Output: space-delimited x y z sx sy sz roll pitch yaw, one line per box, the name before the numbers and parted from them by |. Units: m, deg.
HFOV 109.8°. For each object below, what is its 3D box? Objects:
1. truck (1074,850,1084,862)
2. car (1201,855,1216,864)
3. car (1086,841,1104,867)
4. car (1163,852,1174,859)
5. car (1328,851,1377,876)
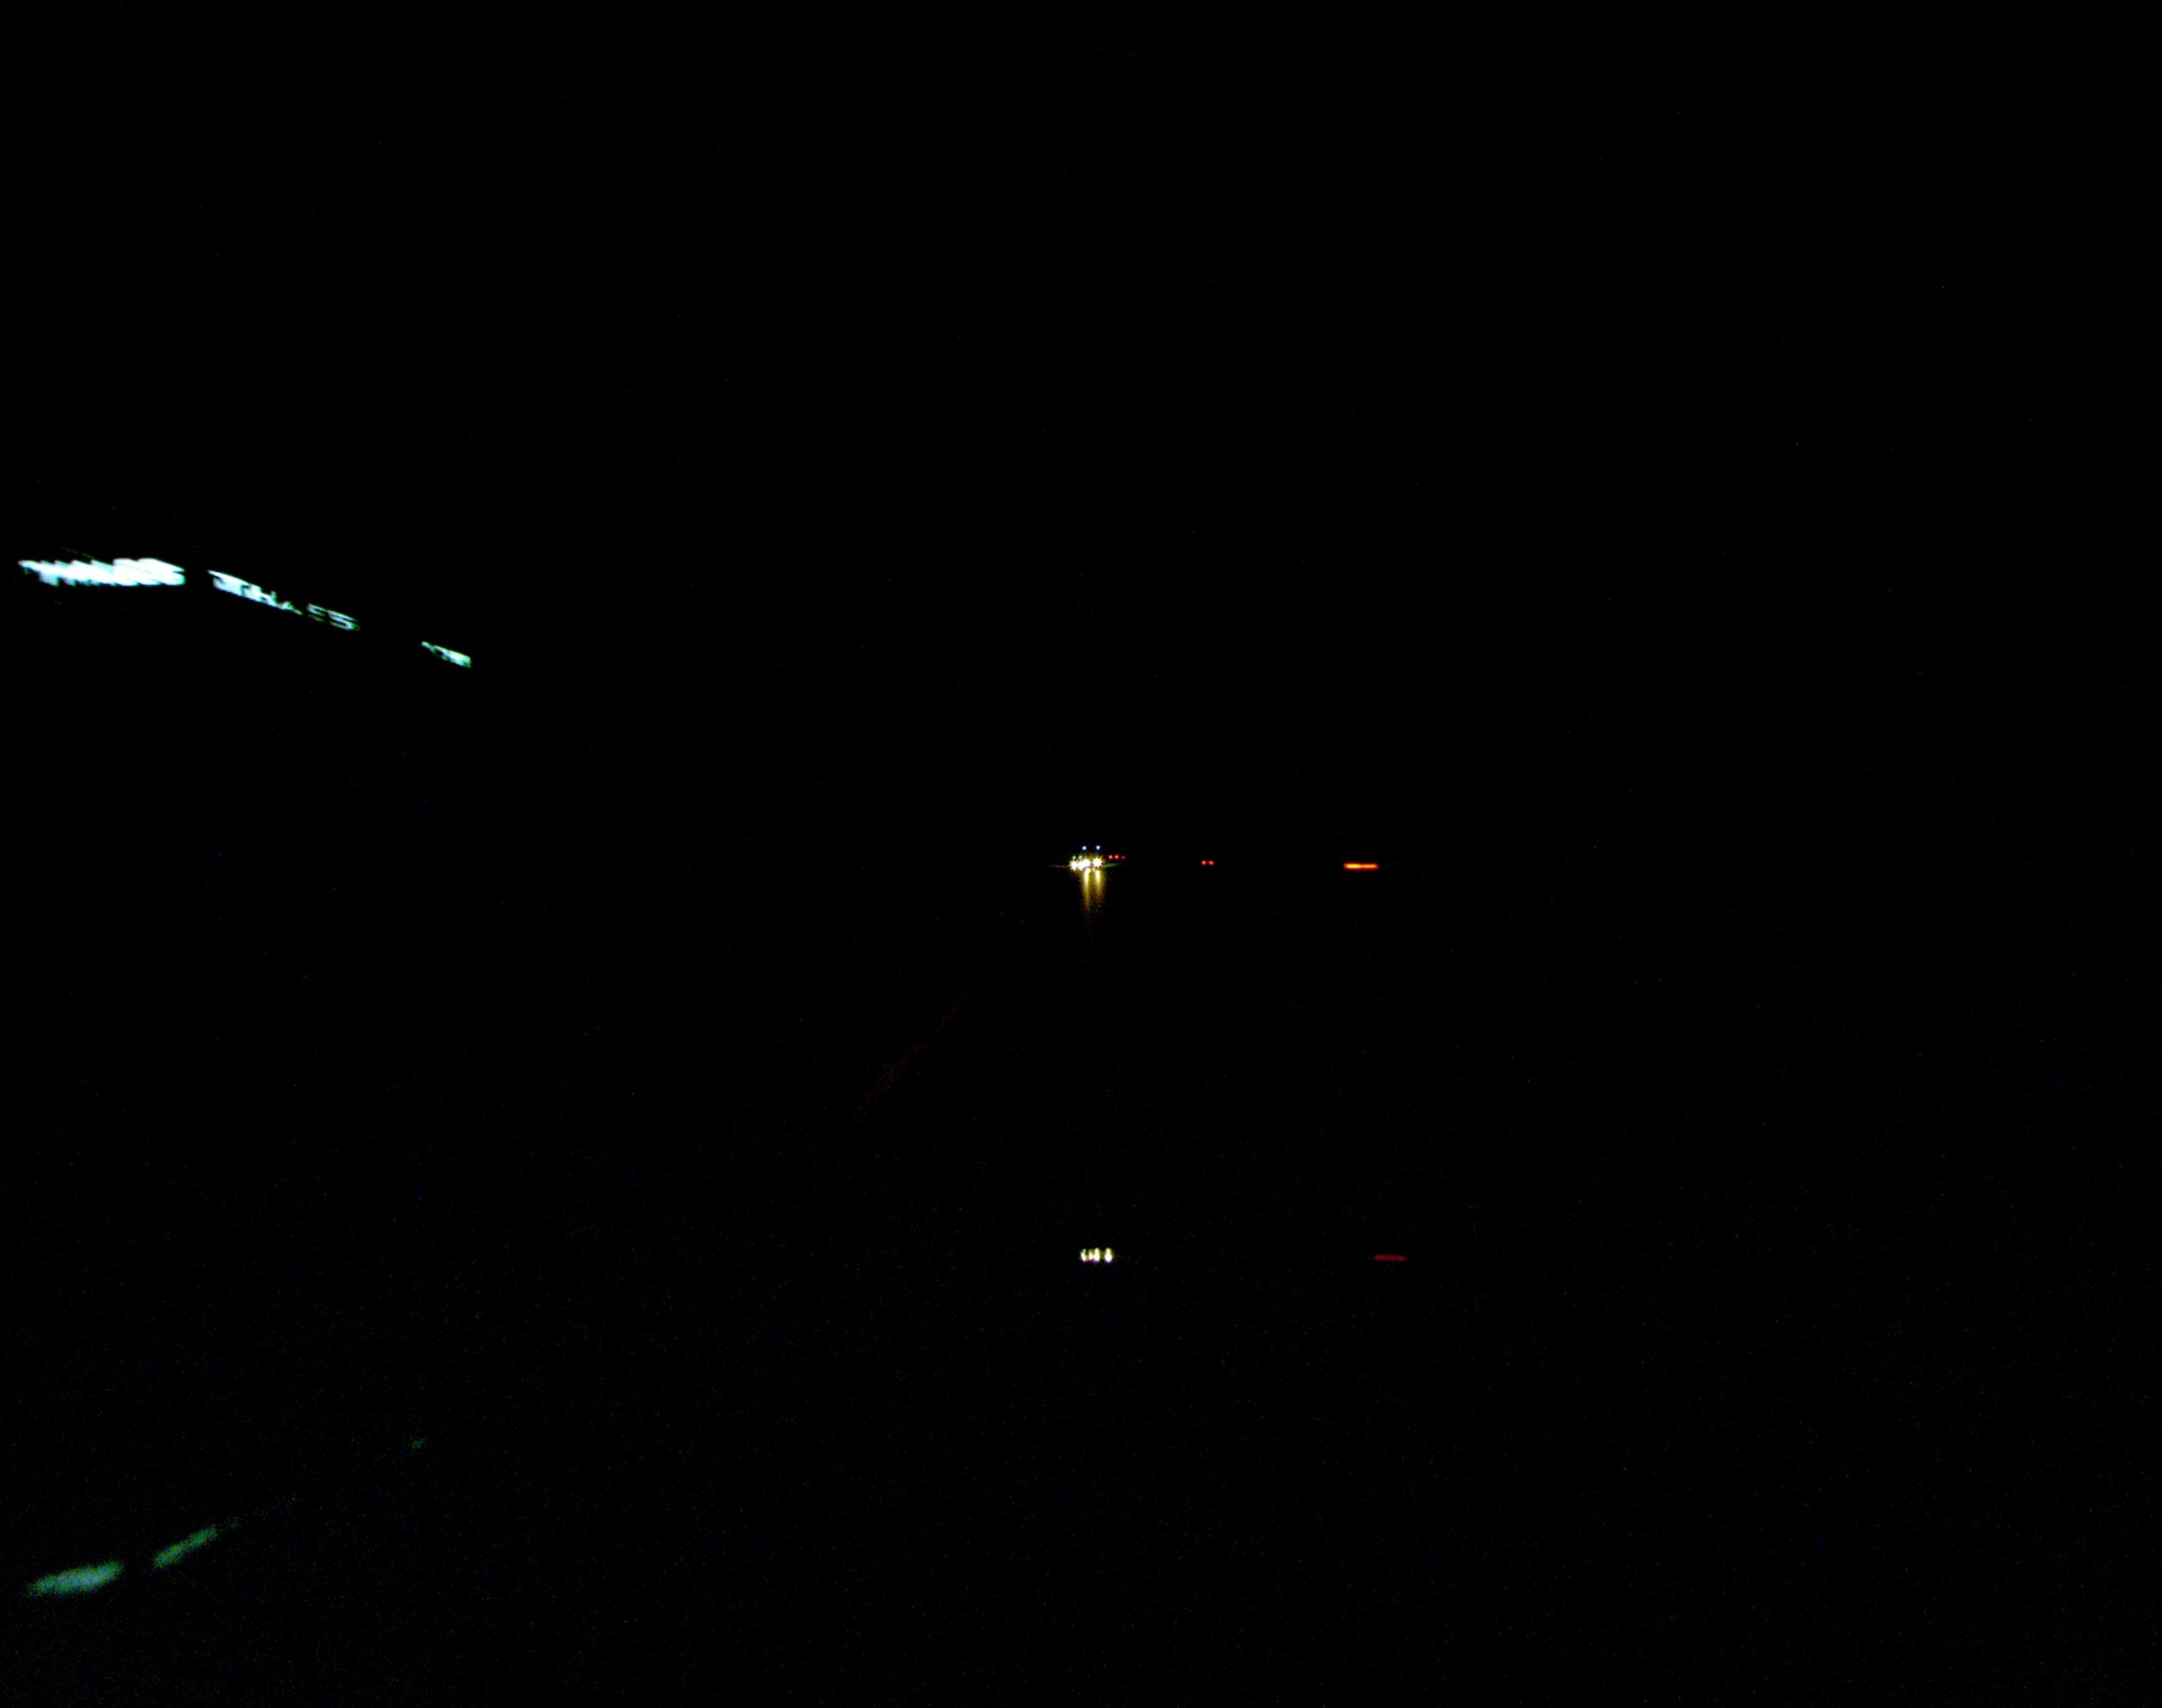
truck | -0.698 0.532 240.040 3.042 3.726 7.560 -1 0 1
car | 22.204 0.967 132.584 1.908 1.611 4.656 -1 0 1
car | 1.845 -0.004 101.616 2.255 3.205 6.878 -2 1 1
car | 19.089 0.367 166.491 1.908 1.462 4.656 -1 0 1
car | 20.787 0.699 58.390 1.908 1.625 5.045 -3 1 1
